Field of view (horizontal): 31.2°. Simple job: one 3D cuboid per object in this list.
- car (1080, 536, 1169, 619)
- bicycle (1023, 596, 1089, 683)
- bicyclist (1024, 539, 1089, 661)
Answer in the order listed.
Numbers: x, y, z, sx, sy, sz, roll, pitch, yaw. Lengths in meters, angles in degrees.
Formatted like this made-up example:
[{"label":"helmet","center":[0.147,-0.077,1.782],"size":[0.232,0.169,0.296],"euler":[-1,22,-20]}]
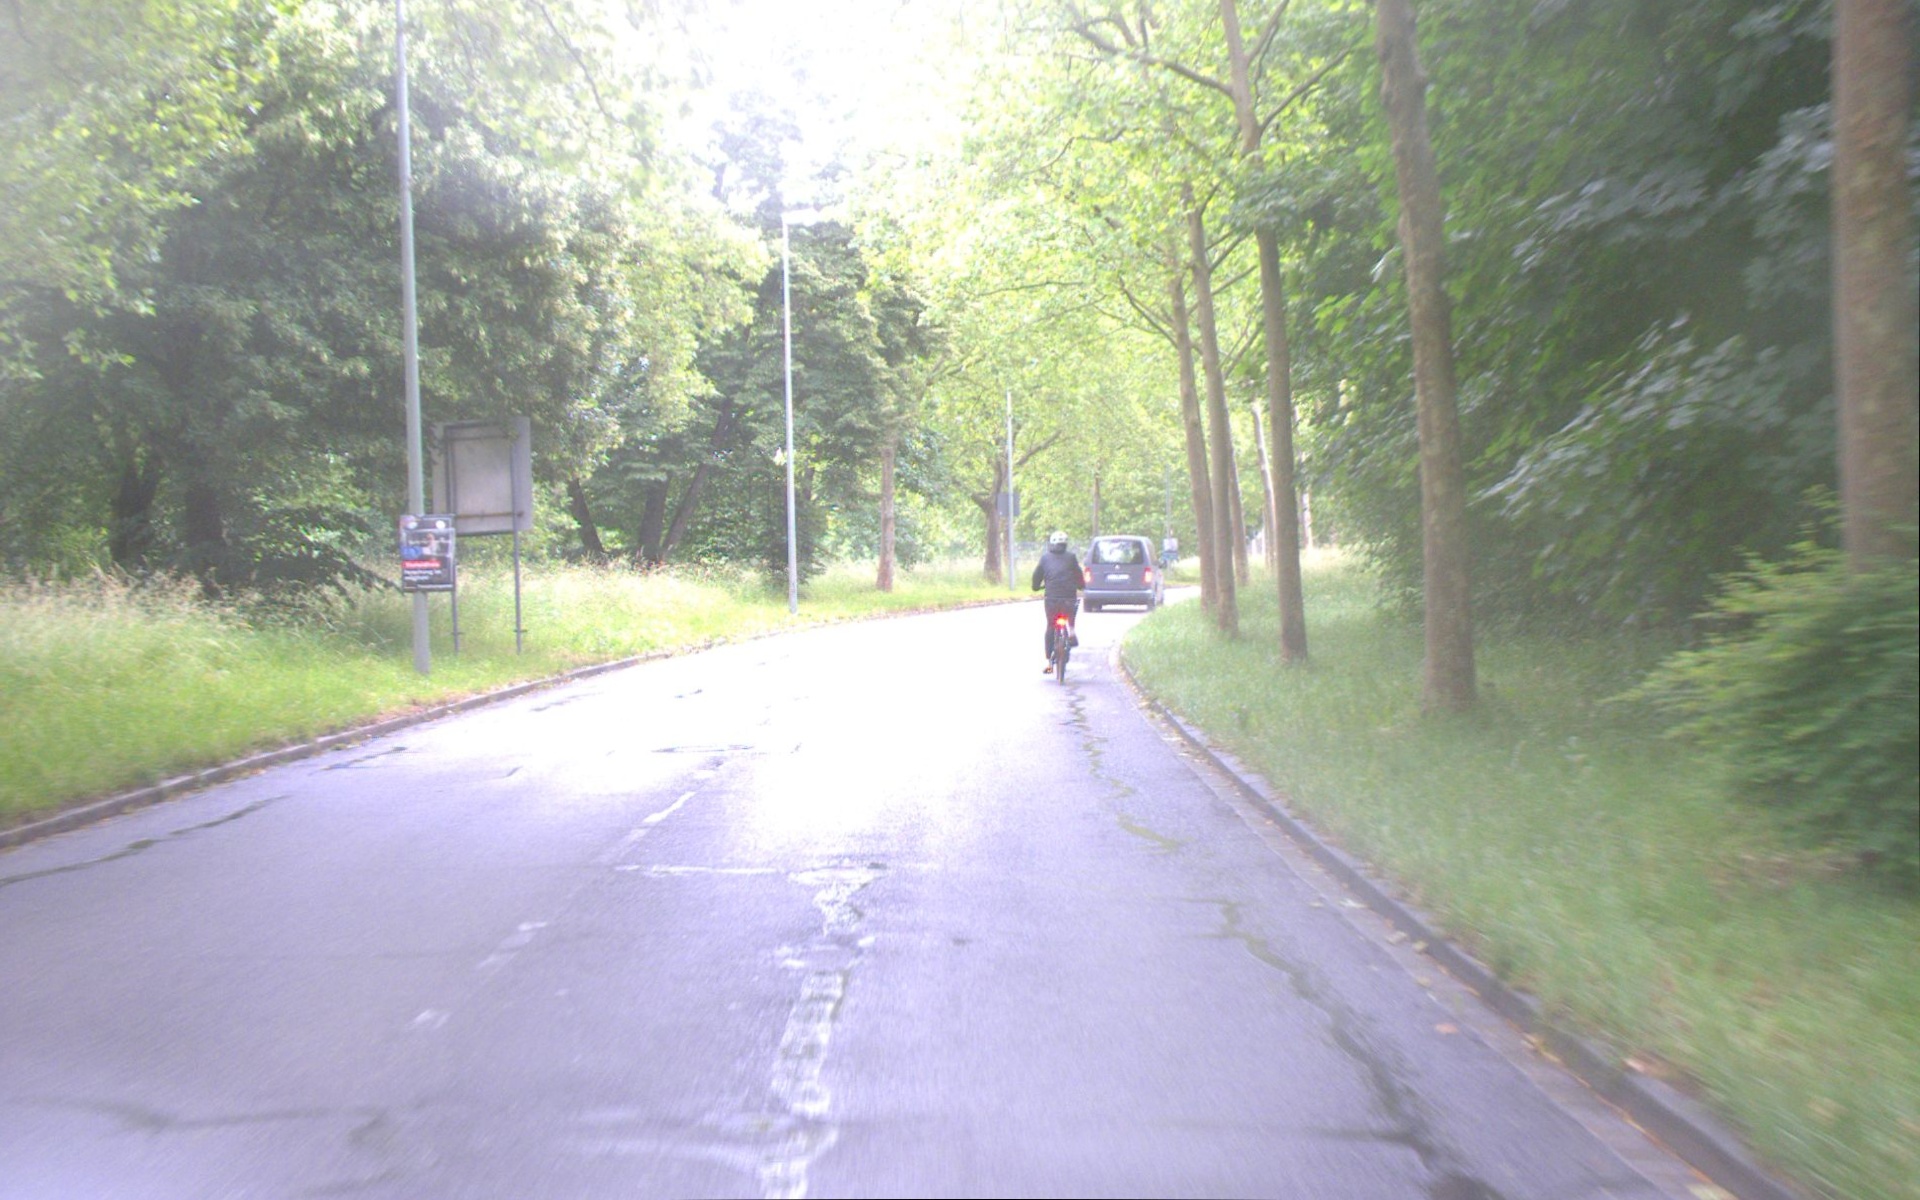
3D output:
[{"label":"car","center":[4.007,-0.562,83.199],"size":[1.986,1.919,3.999],"euler":[-1,1,5]},{"label":"bicycle","center":[1.145,0.455,40.580],"size":[0.730,0.970,2.173],"euler":[0,1,3]},{"label":"bicyclist","center":[1.135,-0.010,40.317],"size":[0.730,1.406,0.973],"euler":[0,1,3]}]
